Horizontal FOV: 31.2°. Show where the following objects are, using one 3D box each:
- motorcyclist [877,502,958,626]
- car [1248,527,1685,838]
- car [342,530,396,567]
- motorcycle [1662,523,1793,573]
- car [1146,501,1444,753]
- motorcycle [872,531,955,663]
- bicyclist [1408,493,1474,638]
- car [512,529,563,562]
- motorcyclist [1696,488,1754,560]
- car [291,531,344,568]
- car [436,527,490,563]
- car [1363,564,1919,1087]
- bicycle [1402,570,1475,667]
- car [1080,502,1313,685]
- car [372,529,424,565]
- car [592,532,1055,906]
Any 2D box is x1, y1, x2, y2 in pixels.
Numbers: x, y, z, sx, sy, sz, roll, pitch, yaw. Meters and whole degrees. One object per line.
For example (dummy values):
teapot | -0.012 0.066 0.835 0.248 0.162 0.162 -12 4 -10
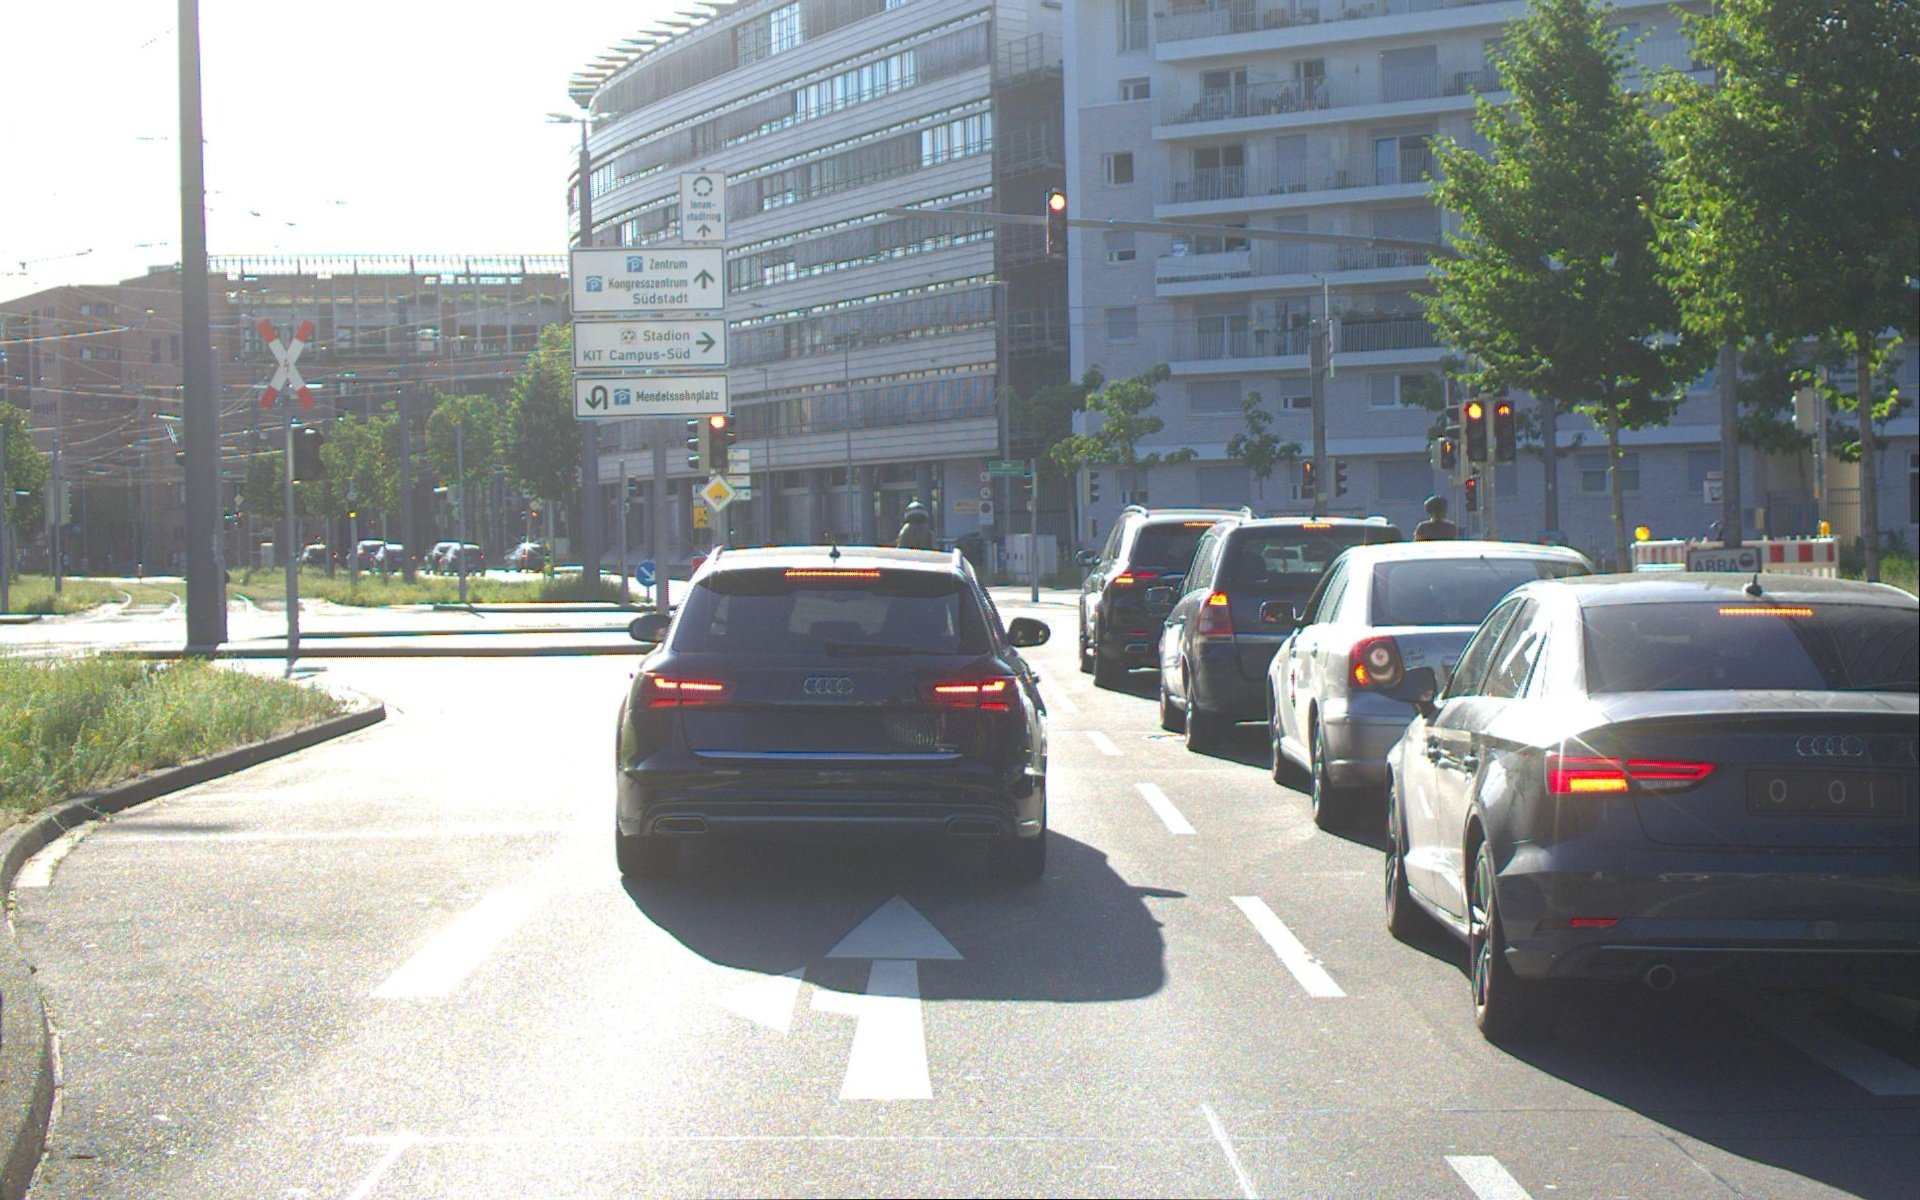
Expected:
motorcyclist | -0.463 -0.397 37.480 0.862 1.322 0.681 -1 1 0
car | 2.637 0.357 18.897 1.746 1.476 4.628 -1 1 1
car | -29.335 -2.540 170.544 1.993 1.700 4.001 -2 1 -18
motorcycle | 16.038 -1.090 71.887 2.452 0.997 1.172 -1 1 0
car | 2.360 0.143 25.175 1.746 1.690 4.261 0 1 0
motorcycle | -0.501 -0.048 37.409 0.862 1.388 1.894 -1 1 0
bicyclist | 5.534 -0.410 39.584 0.654 1.637 0.972 -1 2 3
car | -21.416 -2.761 174.321 1.993 1.590 4.001 -2 1 -15
motorcyclist | 15.982 -1.590 71.874 0.925 1.476 1.172 -1 1 0
car | -31.629 -2.463 169.273 1.993 1.700 4.001 -2 1 -18
car | -23.393 -2.564 161.788 1.993 1.590 4.001 -2 1 -15
car | 2.422 0.595 11.506 1.746 1.387 4.264 0 1 1
bicycle | 5.505 0.196 39.600 0.654 1.039 1.929 -1 2 3
car | 2.325 -0.122 34.905 2.003 1.709 4.373 1 2 -1
car | -26.839 -2.531 164.204 1.993 1.590 4.001 -2 1 -15
car | -0.575 0.437 15.790 1.842 1.449 4.000 1 2 -1
